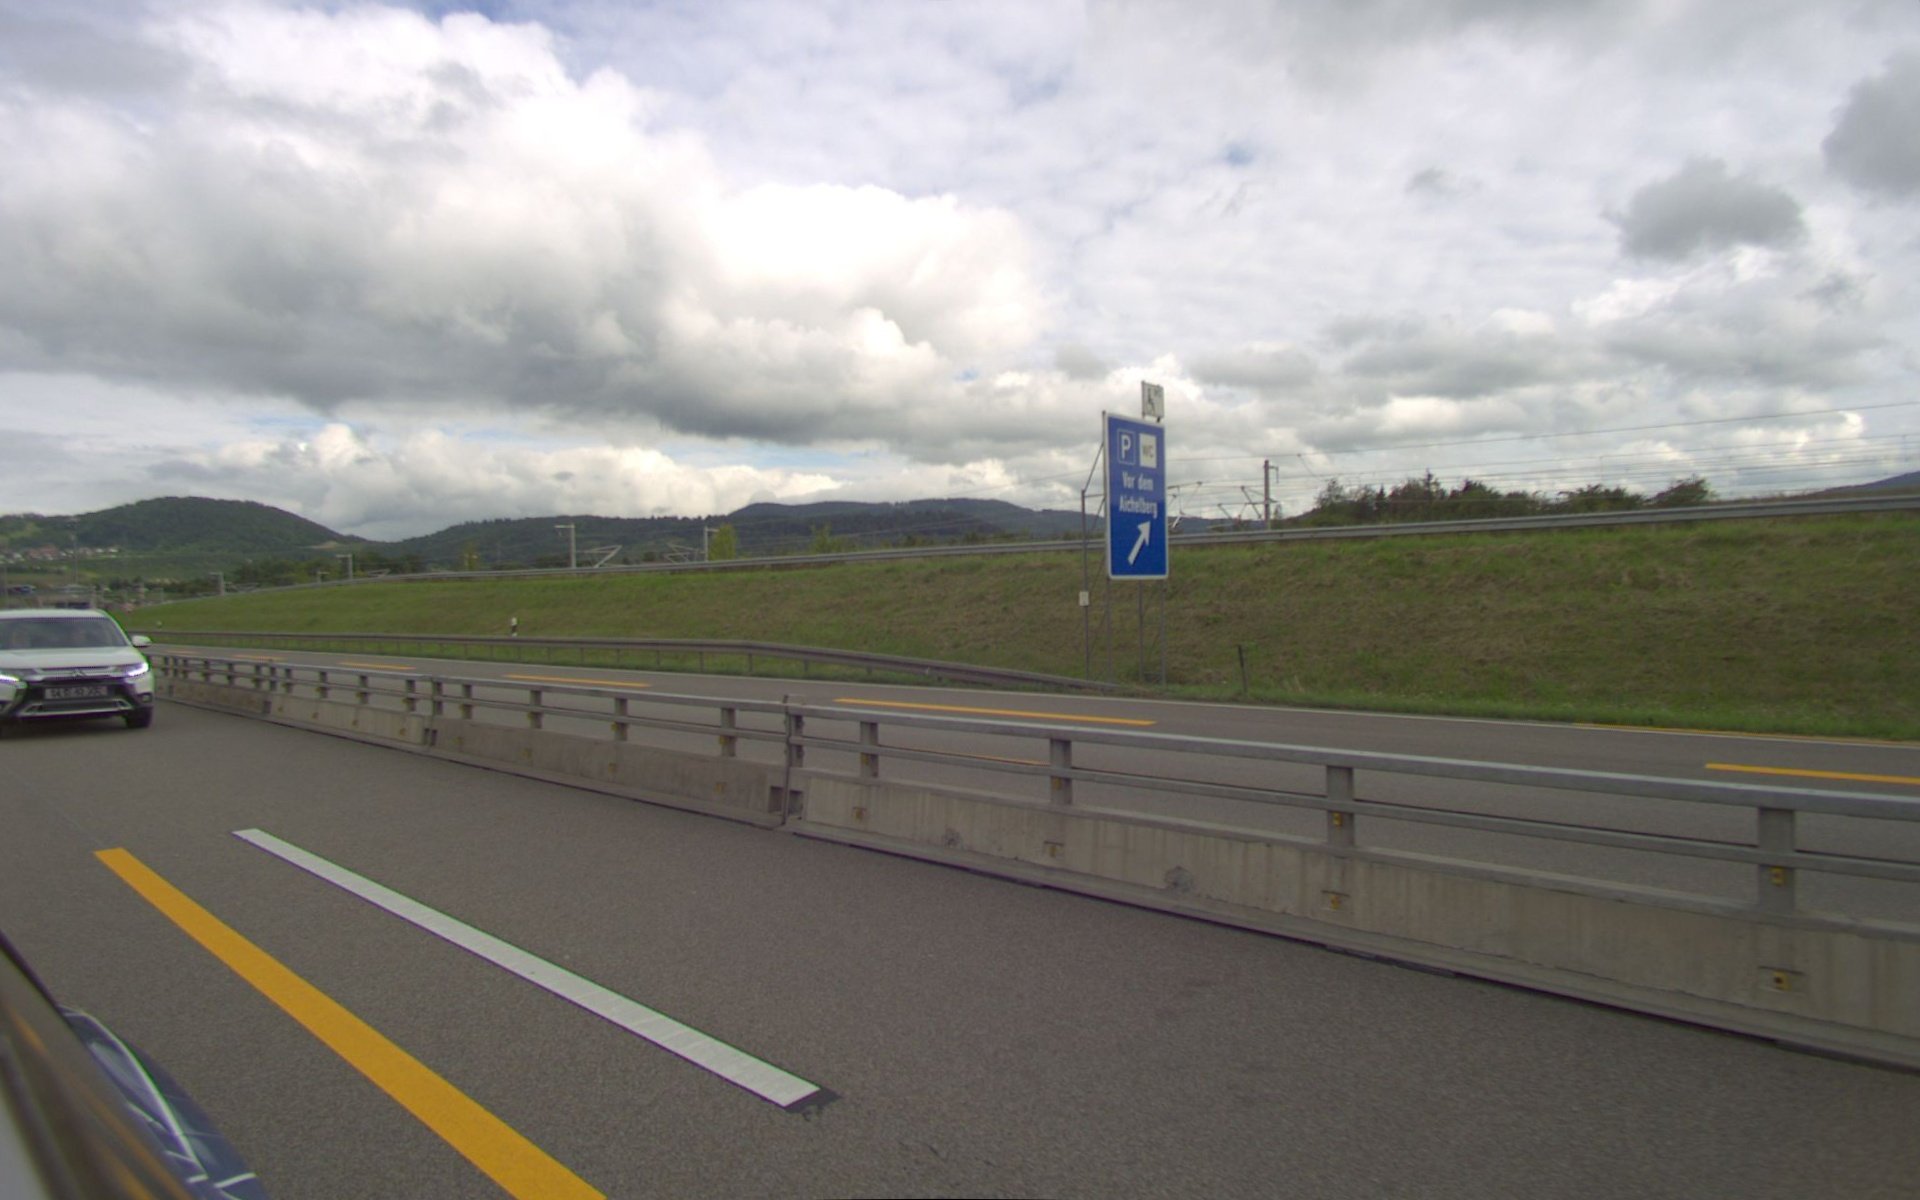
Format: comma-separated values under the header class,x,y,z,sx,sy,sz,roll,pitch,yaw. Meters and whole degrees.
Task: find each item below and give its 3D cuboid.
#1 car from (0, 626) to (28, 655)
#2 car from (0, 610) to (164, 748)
class,x,y,z,sx,sy,sz,roll,pitch,yaw
car,-49.132,2.072,51.823,3.999,1.398,1.738,-2,-1,42
car,-12.797,0.993,14.104,4.606,1.640,1.972,-2,-1,42
